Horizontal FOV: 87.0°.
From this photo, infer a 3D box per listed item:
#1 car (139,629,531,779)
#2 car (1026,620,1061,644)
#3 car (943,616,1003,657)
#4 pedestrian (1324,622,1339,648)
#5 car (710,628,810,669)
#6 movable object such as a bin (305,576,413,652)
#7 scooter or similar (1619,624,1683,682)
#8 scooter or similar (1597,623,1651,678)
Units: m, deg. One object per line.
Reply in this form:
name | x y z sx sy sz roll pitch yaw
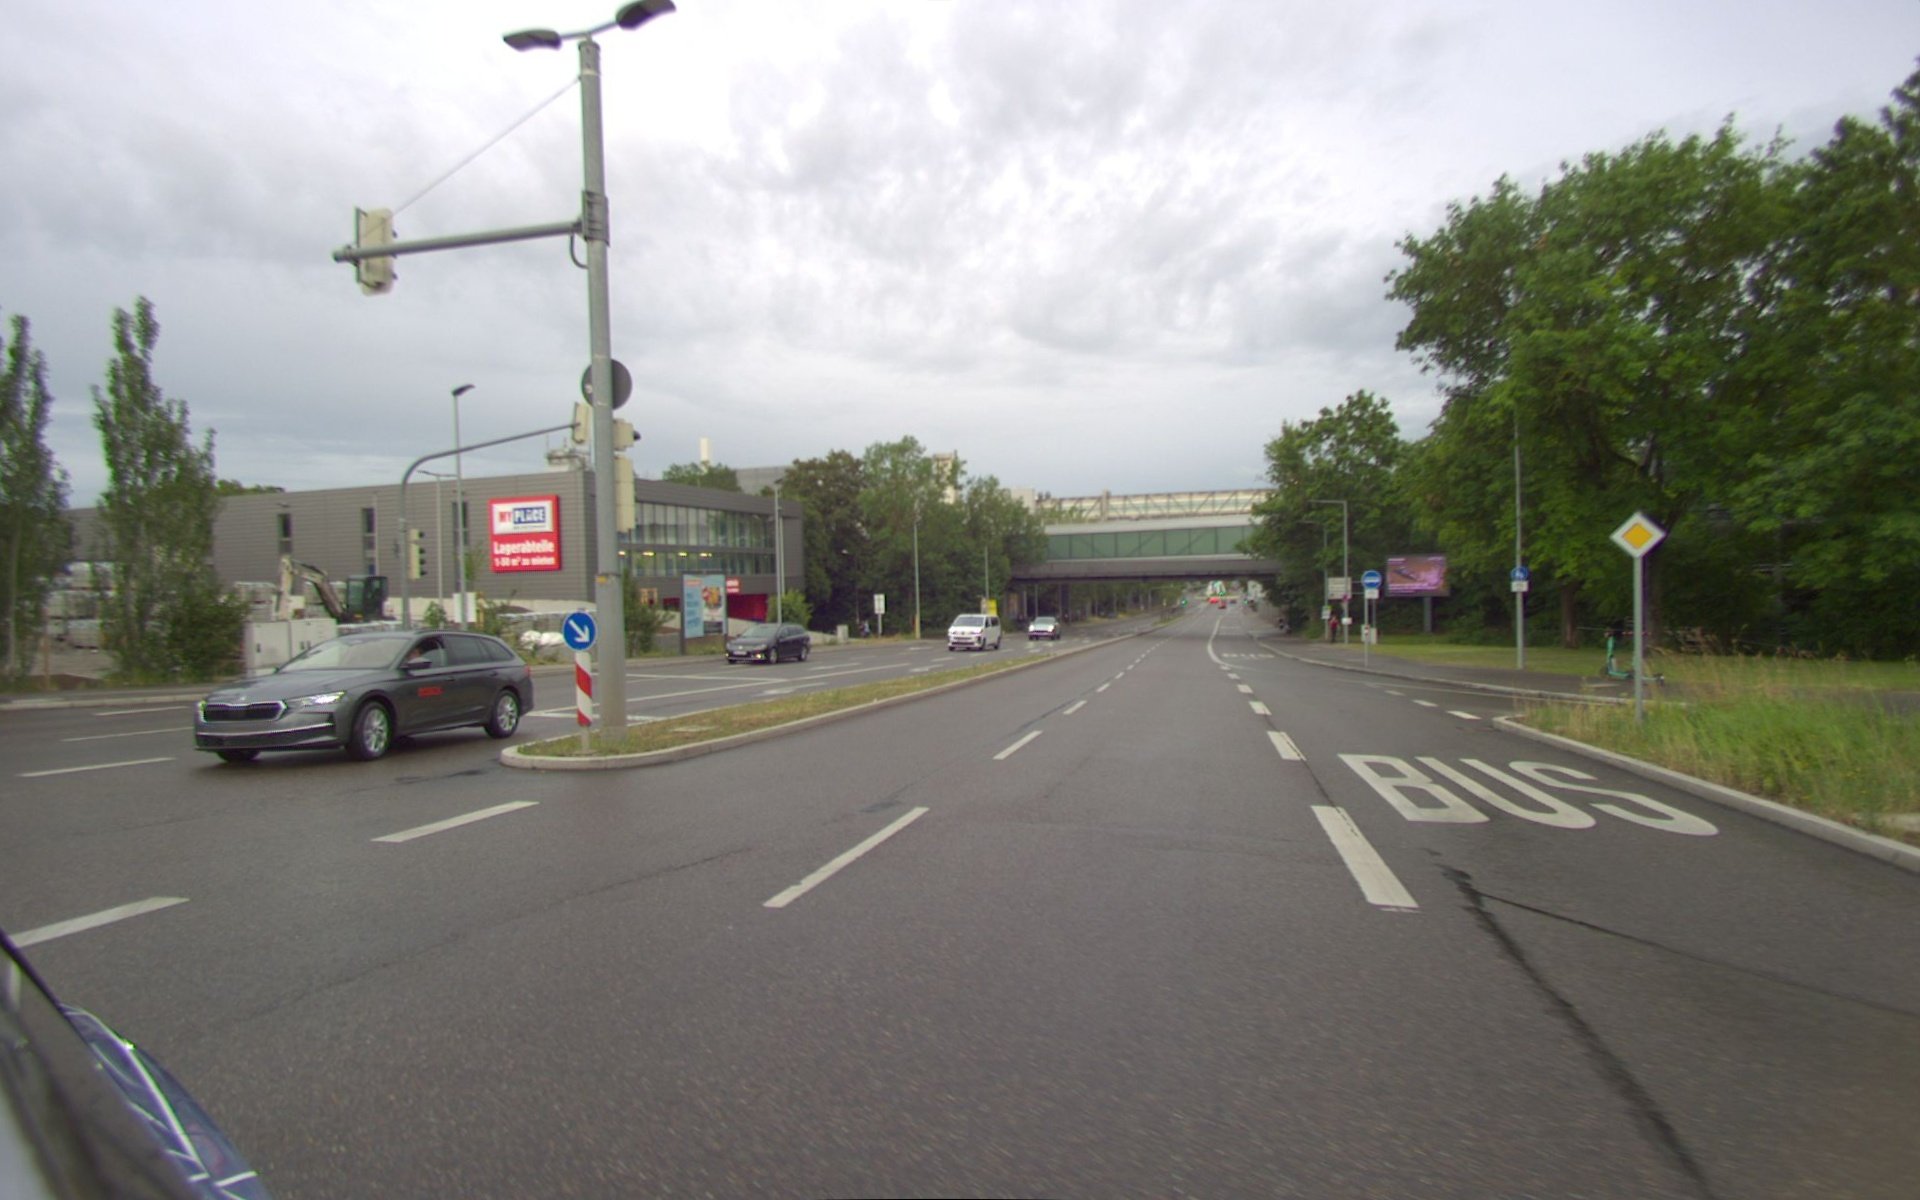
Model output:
car | -7.191 1.111 12.261 1.818 1.468 4.192 -1 -2 8
car | 6.333 2.376 76.271 1.823 1.715 4.602 -1 -2 15
car | 0.744 1.915 53.605 1.824 2.050 5.165 -1 -2 17
pedestrian | 23.027 2.167 62.694 0.741 1.641 0.705 -1 -2 31
car | -7.289 1.749 37.360 1.823 1.415 4.460 -1 -2 15
movable object such as a bin | -21.821 0.537 36.842 1.907 2.647 2.990 -1 -2 10
scooter or similar | 15.643 1.193 22.952 0.543 1.269 1.355 -1 -2 4
scooter or similar | 15.971 1.208 24.378 0.510 1.269 1.224 -1 -2 4
